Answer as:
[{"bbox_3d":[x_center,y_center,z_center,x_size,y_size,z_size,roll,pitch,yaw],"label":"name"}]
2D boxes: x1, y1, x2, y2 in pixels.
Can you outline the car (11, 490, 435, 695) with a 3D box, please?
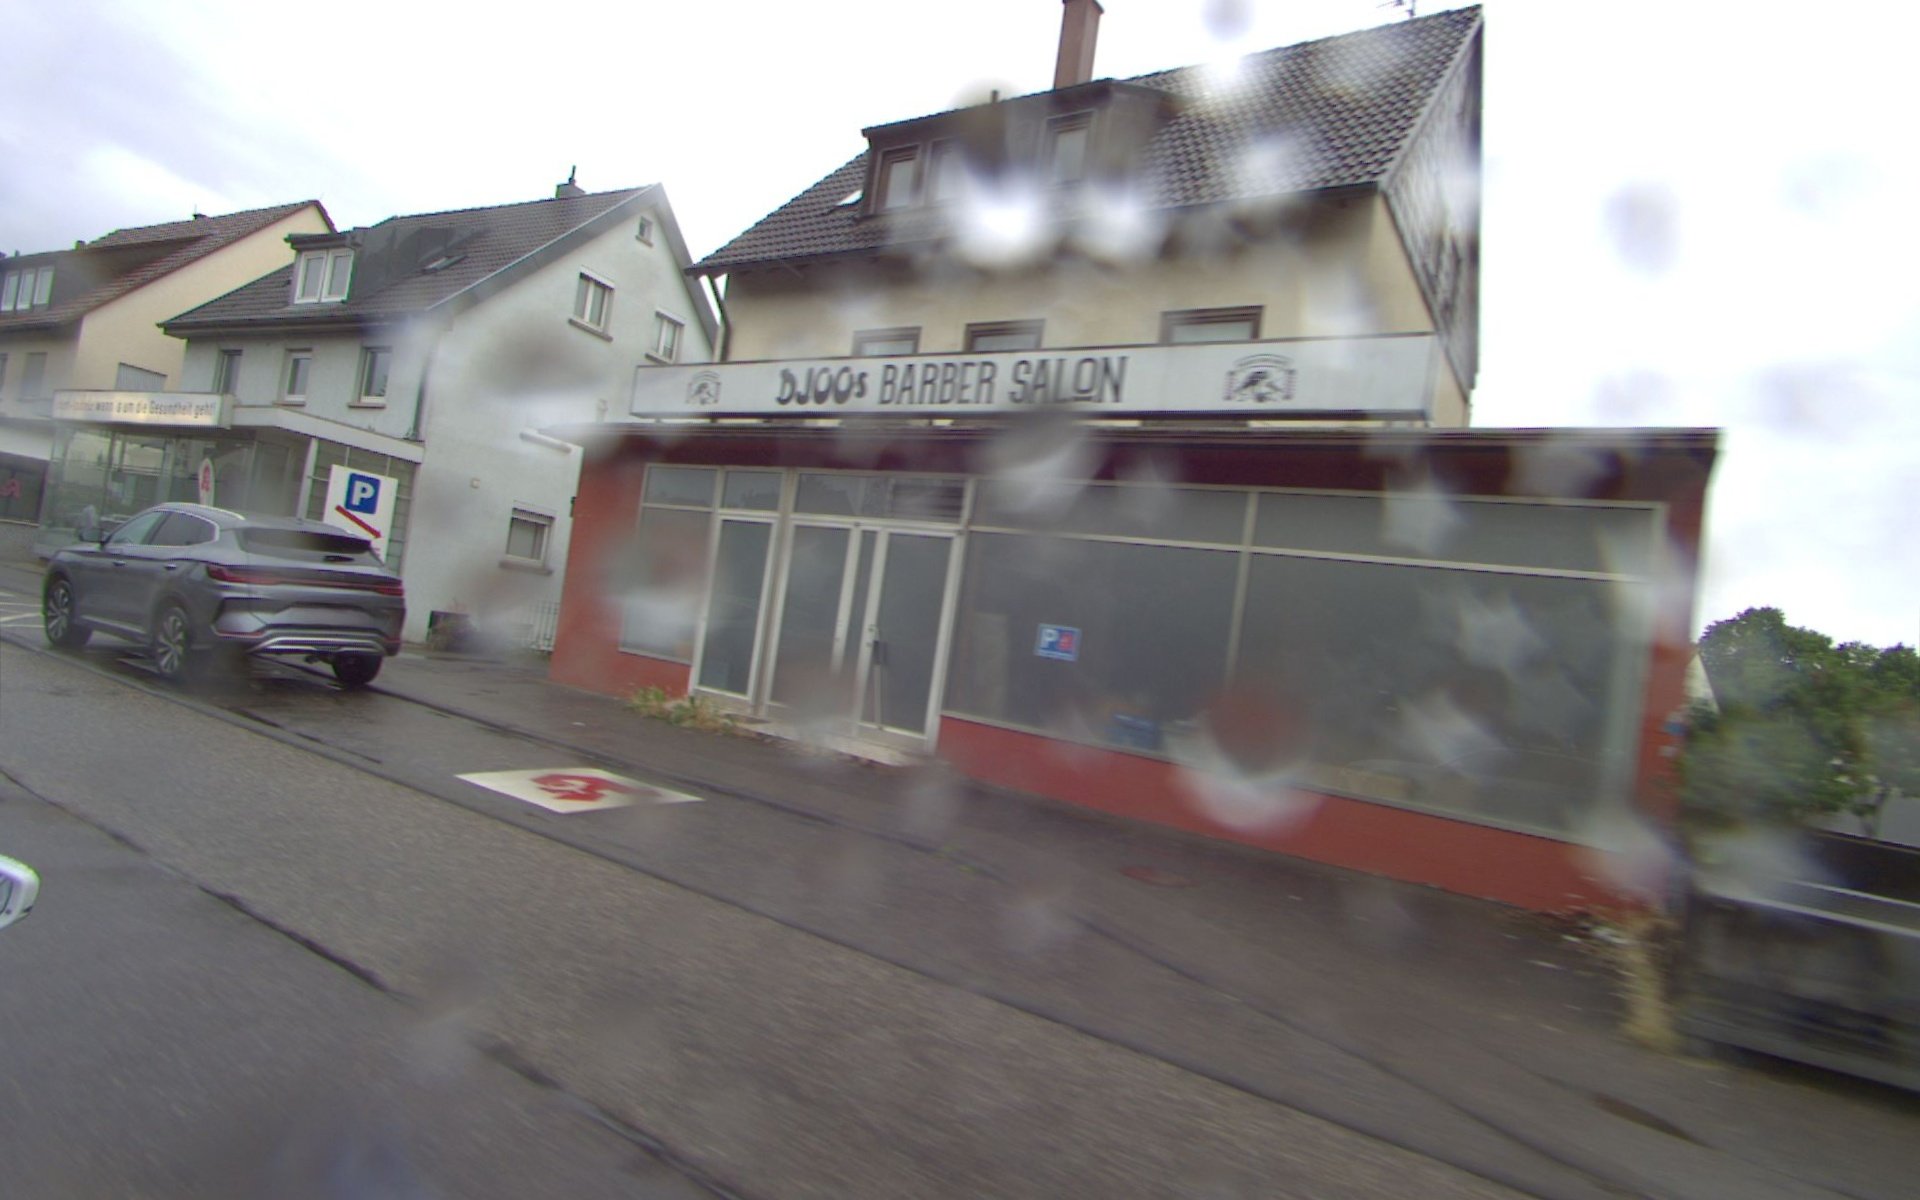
[{"bbox_3d":[-8.063,-0.124,10.895,4.711,1.662,1.878,6,-1,30],"label":"car"}]
